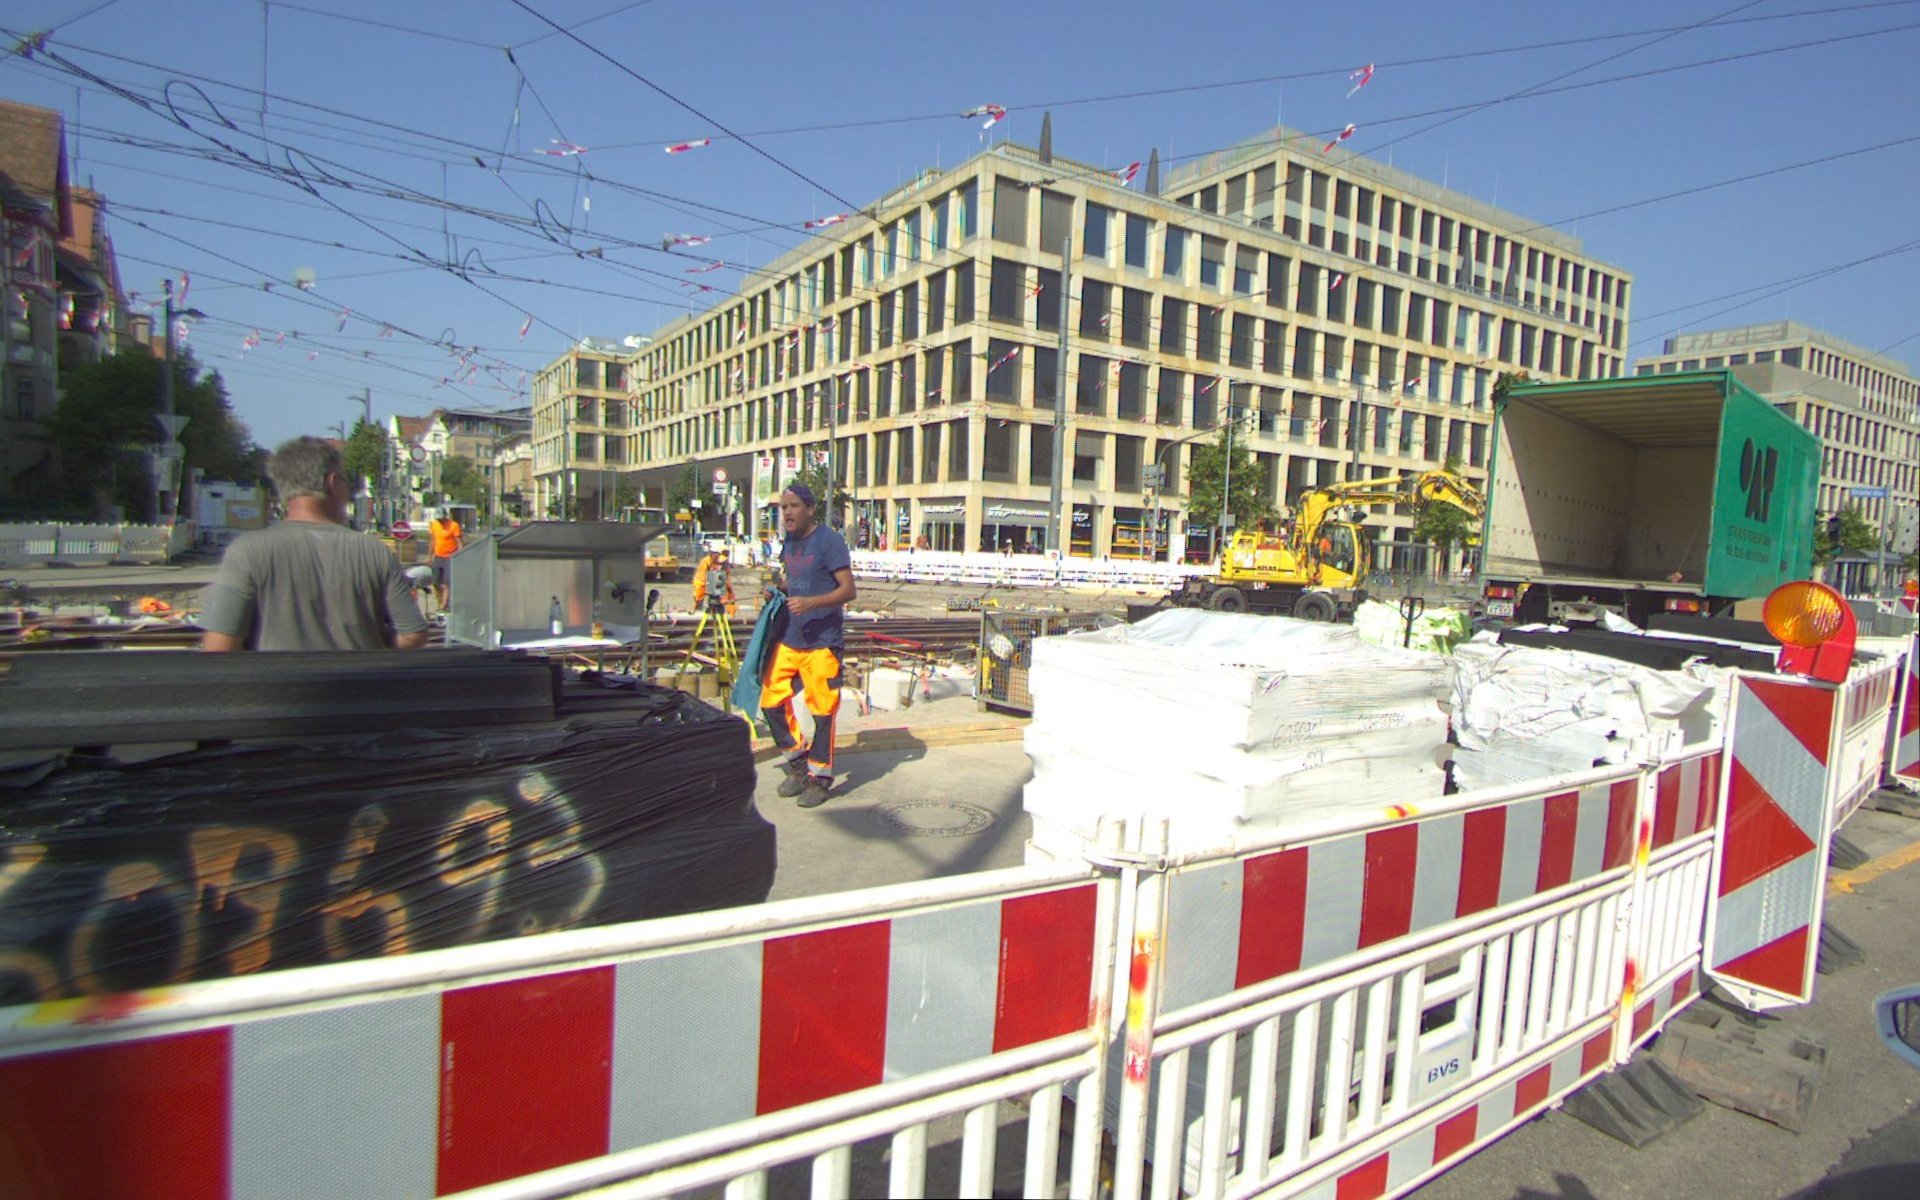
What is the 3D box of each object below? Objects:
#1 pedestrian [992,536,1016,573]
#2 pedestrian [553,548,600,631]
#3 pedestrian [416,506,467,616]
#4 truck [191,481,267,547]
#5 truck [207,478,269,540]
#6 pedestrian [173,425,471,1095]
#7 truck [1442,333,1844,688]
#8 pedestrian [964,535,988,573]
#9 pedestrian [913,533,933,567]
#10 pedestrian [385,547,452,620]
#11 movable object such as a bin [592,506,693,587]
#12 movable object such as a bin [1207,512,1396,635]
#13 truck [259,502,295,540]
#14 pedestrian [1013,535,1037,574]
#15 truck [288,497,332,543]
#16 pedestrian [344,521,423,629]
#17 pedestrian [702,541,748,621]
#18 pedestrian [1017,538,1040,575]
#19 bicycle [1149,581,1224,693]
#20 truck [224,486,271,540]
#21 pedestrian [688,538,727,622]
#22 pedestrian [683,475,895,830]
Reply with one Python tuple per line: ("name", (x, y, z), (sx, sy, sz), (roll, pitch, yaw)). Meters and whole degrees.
("pedestrian", (2.062, -2.161, 47.310), (0.831, 1.691, 0.724), (0, 4, -30))
("pedestrian", (-6.064, -0.169, 15.869), (0.542, 1.264, 0.672), (0, 4, -34))
("pedestrian", (-8.410, -0.636, 16.296), (0.671, 1.725, 0.746), (0, 4, -33))
("truck", (-34.565, -4.024, 47.654), (2.664, 2.853, 5.982), (0, 4, -34))
("truck", (-39.513, -4.925, 55.089), (2.605, 3.085, 6.293), (0, 4, -35))
("pedestrian", (-1.947, 0.425, 3.078), (0.714, 1.799, 0.460), (-1, 4, -40))
("truck", (10.549, -1.067, 14.964), (8.947, 3.840, 2.782), (-1, 3, -42))
("pedestrian", (0.723, -2.076, 45.176), (0.721, 1.691, 0.761), (0, 3, -29))
("pedestrian", (-1.865, -2.498, 50.387), (0.722, 1.691, 0.639), (0, 4, -32))
("pedestrian", (-9.232, -0.267, 17.118), (0.860, 1.199, 0.723), (2, 0, -40))
("movable object such as a bin", (-12.443, -2.142, 39.055), (2.463, 2.827, 5.472), (2, 4, -31))
("movable object such as a bin", (9.992, -0.854, 29.422), (4.066, 3.267, 3.548), (5, 4, 43))
("truck", (-53.253, -6.140, 78.336), (2.216, 2.828, 5.541), (0, 4, -35))
("pedestrian", (2.873, -2.013, 44.766), (0.721, 1.691, 0.761), (0, 3, -29))
("truck", (-42.914, -5.268, 66.244), (2.216, 2.828, 6.293), (0, 4, -35))
("pedestrian", (-8.729, -0.388, 15.221), (0.738, 1.578, 0.737), (3, 3, 15))
("pedestrian", (-5.185, -0.421, 22.158), (0.750, 1.725, 0.734), (0, 4, -33))
("pedestrian", (3.139, -1.999, 46.081), (0.721, 1.691, 0.761), (0, 3, -29))
("bicycle", (2.739, 0.402, 12.316), (0.662, 1.164, 1.800), (2, 4, 6))
("truck", (-44.233, -5.360, 62.463), (2.216, 3.085, 6.293), (0, 4, -35))
("pedestrian", (-5.320, -0.435, 21.228), (0.745, 1.725, 0.739), (1, 3, -13))
("pedestrian", (-0.969, 0.255, 5.807), (0.902, 1.866, 0.802), (3, 3, 17))
